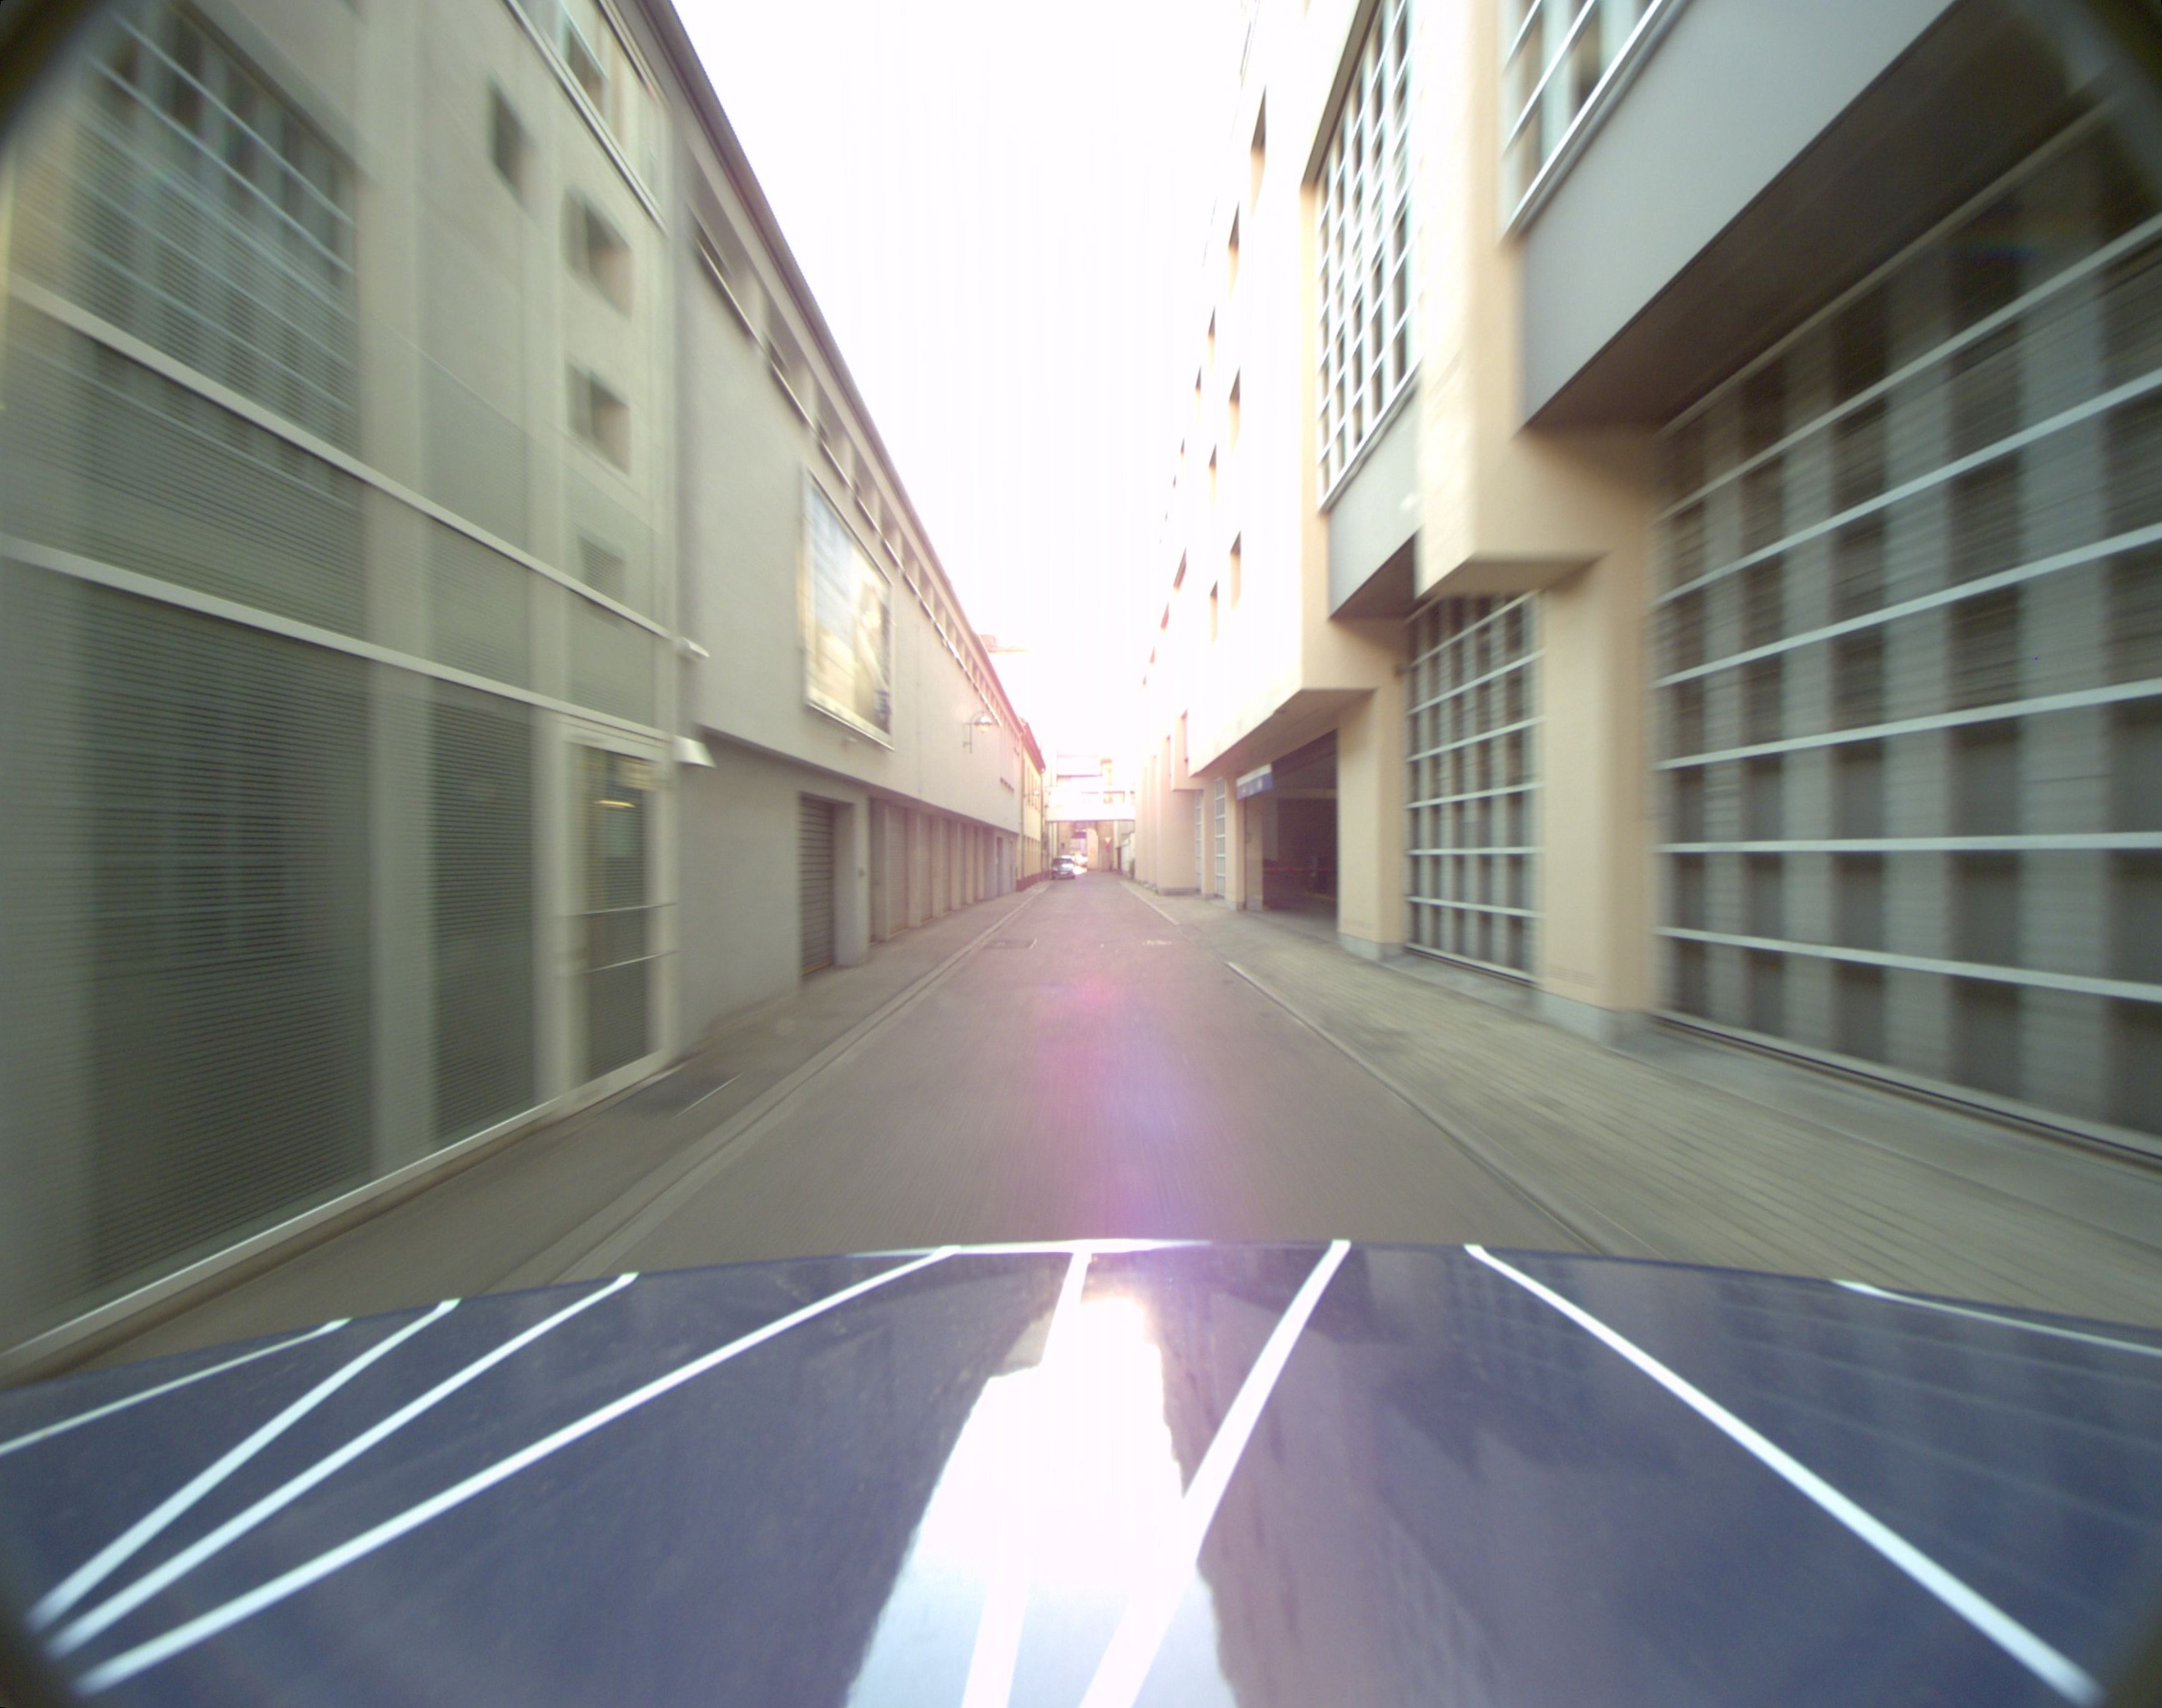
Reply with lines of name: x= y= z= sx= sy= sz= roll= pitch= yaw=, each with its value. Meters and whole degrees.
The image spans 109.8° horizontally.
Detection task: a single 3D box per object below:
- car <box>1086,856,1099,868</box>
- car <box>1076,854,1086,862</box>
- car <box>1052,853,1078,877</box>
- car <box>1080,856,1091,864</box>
car: x=1.804 y=1.274 z=125.108 sx=1.999 sy=1.805 sz=3.999 roll=-2 pitch=0 yaw=-1
car: x=-0.072 y=0.772 z=148.677 sx=1.806 sy=1.415 sz=3.754 roll=-2 pitch=0 yaw=-3
car: x=-1.200 y=0.829 z=58.781 sx=1.764 sy=1.756 sz=4.750 roll=-2 pitch=0 yaw=0
car: x=0.865 y=1.031 z=143.067 sx=1.806 sy=1.415 sz=3.754 roll=-2 pitch=0 yaw=-2
